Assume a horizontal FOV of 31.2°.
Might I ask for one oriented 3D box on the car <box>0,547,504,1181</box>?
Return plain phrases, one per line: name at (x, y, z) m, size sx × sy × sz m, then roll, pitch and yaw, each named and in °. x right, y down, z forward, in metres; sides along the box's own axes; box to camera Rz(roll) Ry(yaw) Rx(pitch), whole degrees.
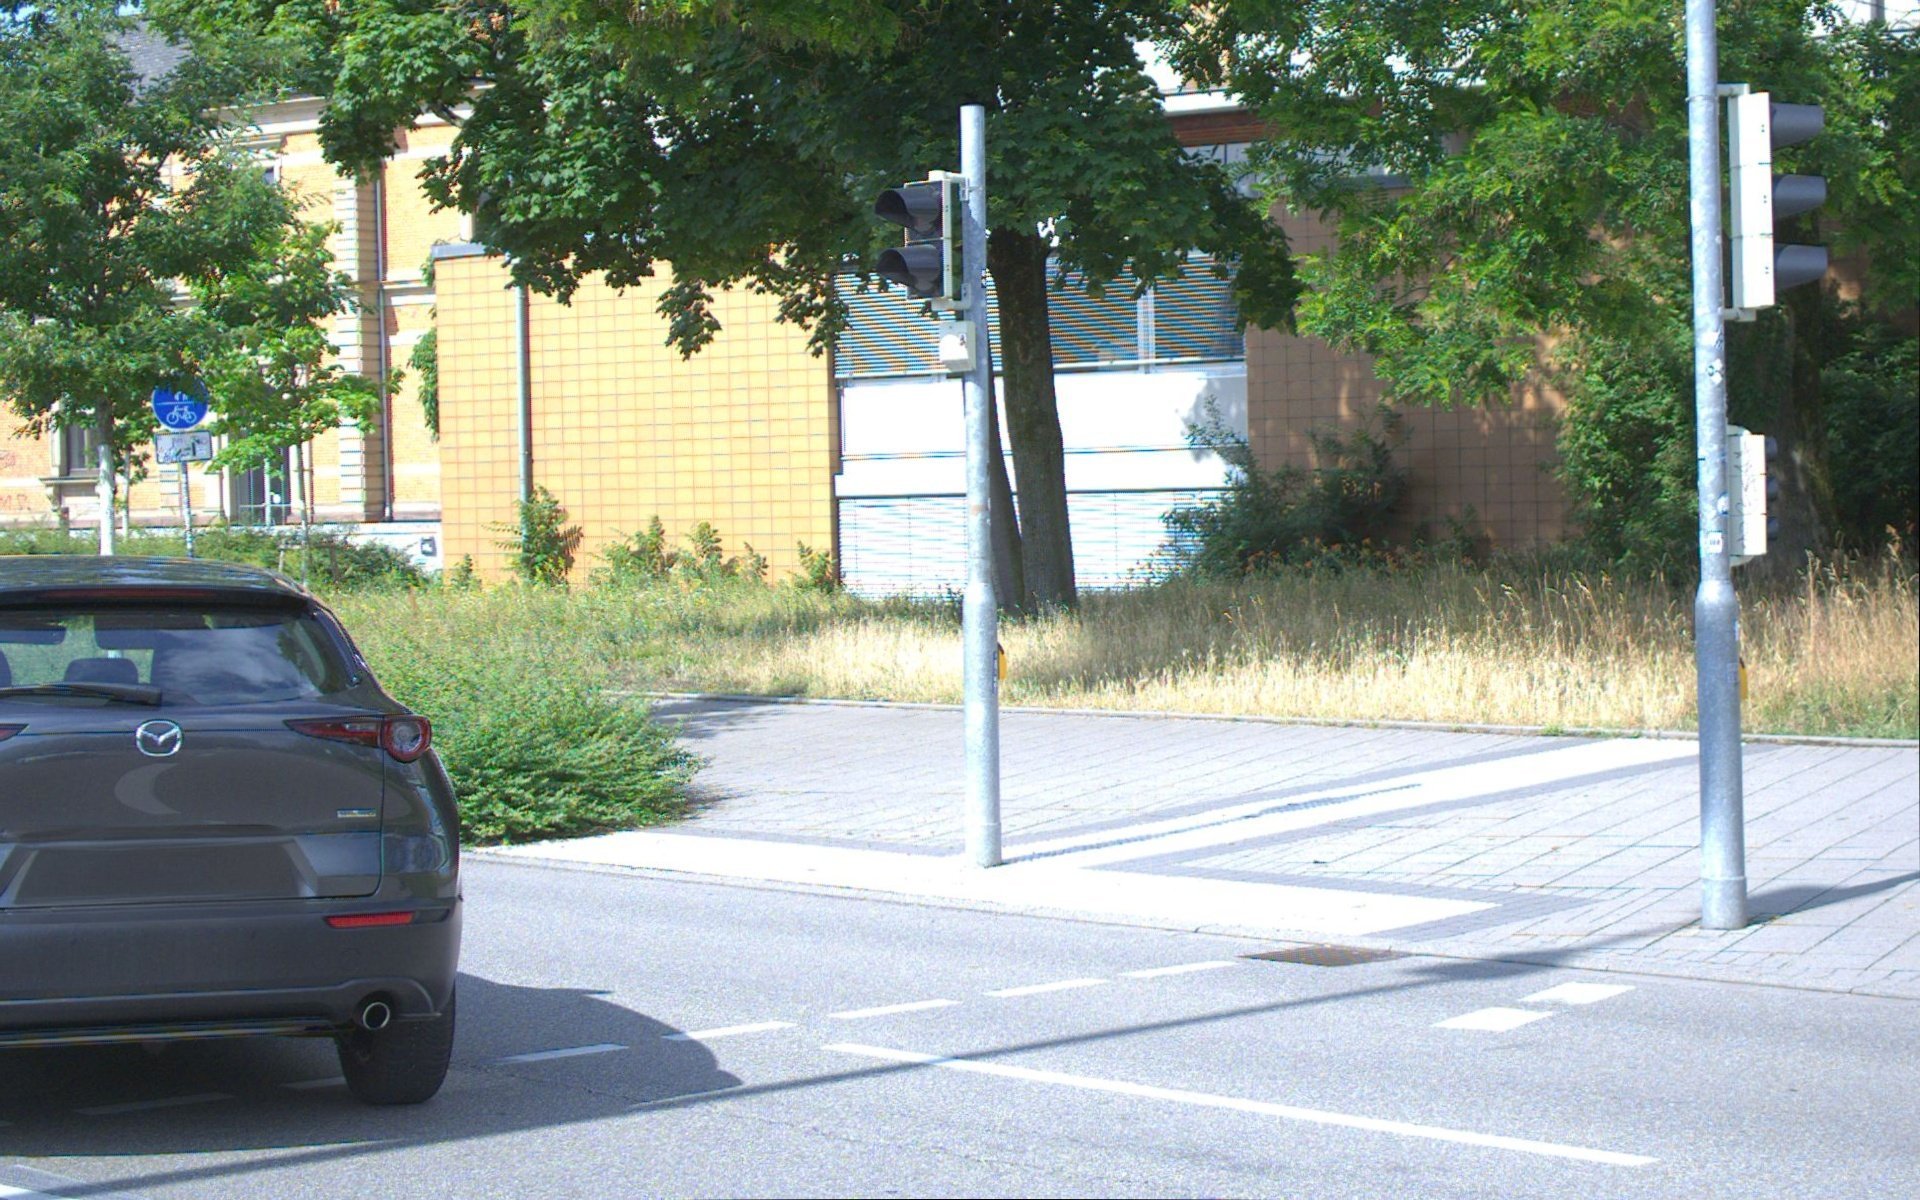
car at (-2.800, 0.628, 10.316) m, size 1.805 × 1.503 × 4.206 m, roll -1°, pitch 1°, yaw -22°
